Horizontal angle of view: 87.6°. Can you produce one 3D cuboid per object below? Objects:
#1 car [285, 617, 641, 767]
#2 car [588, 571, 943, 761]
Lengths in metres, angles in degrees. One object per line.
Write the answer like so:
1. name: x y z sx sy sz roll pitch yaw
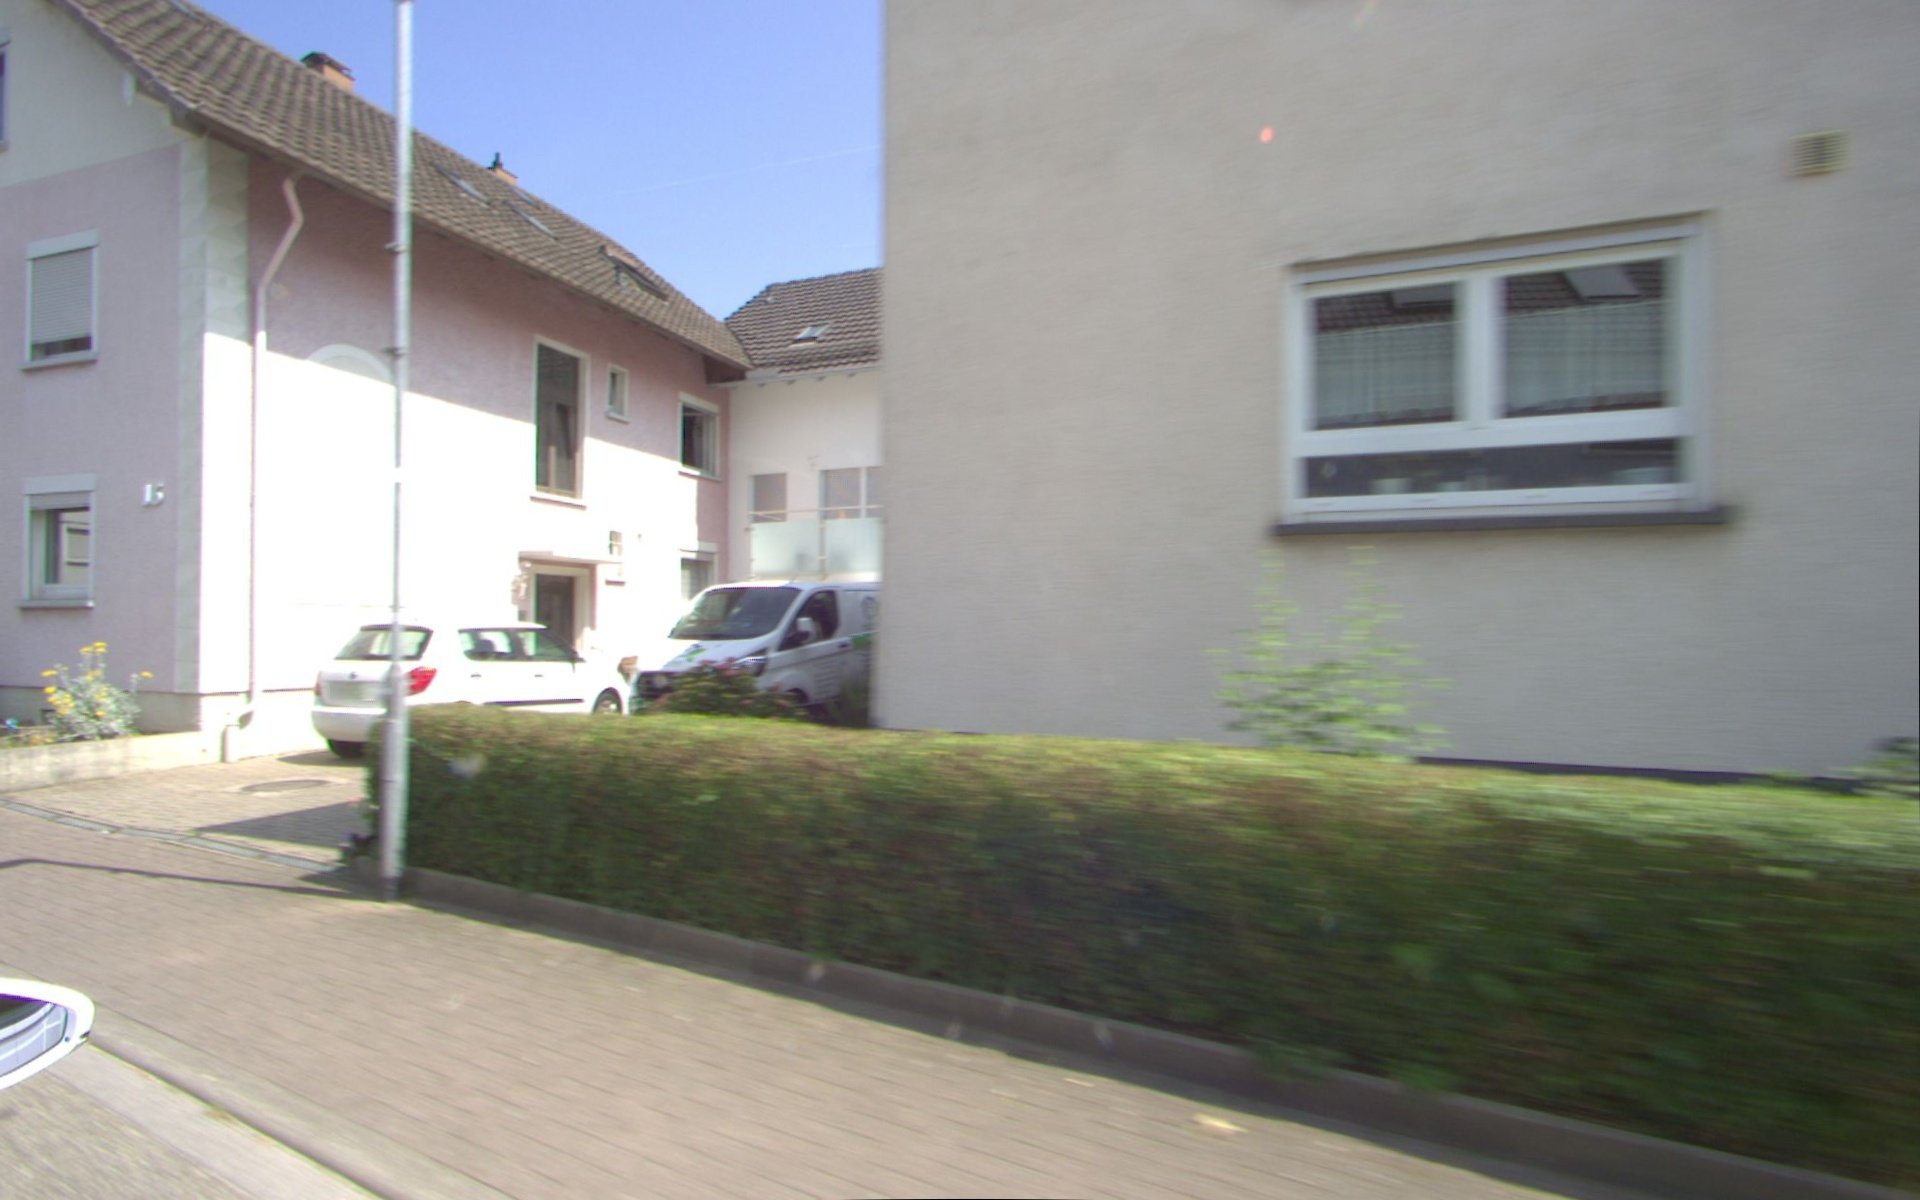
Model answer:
1. car: -5.647 0.946 11.922 1.650 1.480 3.754 0 -1 18
2. car: -2.177 0.722 12.909 2.022 1.937 4.982 0 -1 24
